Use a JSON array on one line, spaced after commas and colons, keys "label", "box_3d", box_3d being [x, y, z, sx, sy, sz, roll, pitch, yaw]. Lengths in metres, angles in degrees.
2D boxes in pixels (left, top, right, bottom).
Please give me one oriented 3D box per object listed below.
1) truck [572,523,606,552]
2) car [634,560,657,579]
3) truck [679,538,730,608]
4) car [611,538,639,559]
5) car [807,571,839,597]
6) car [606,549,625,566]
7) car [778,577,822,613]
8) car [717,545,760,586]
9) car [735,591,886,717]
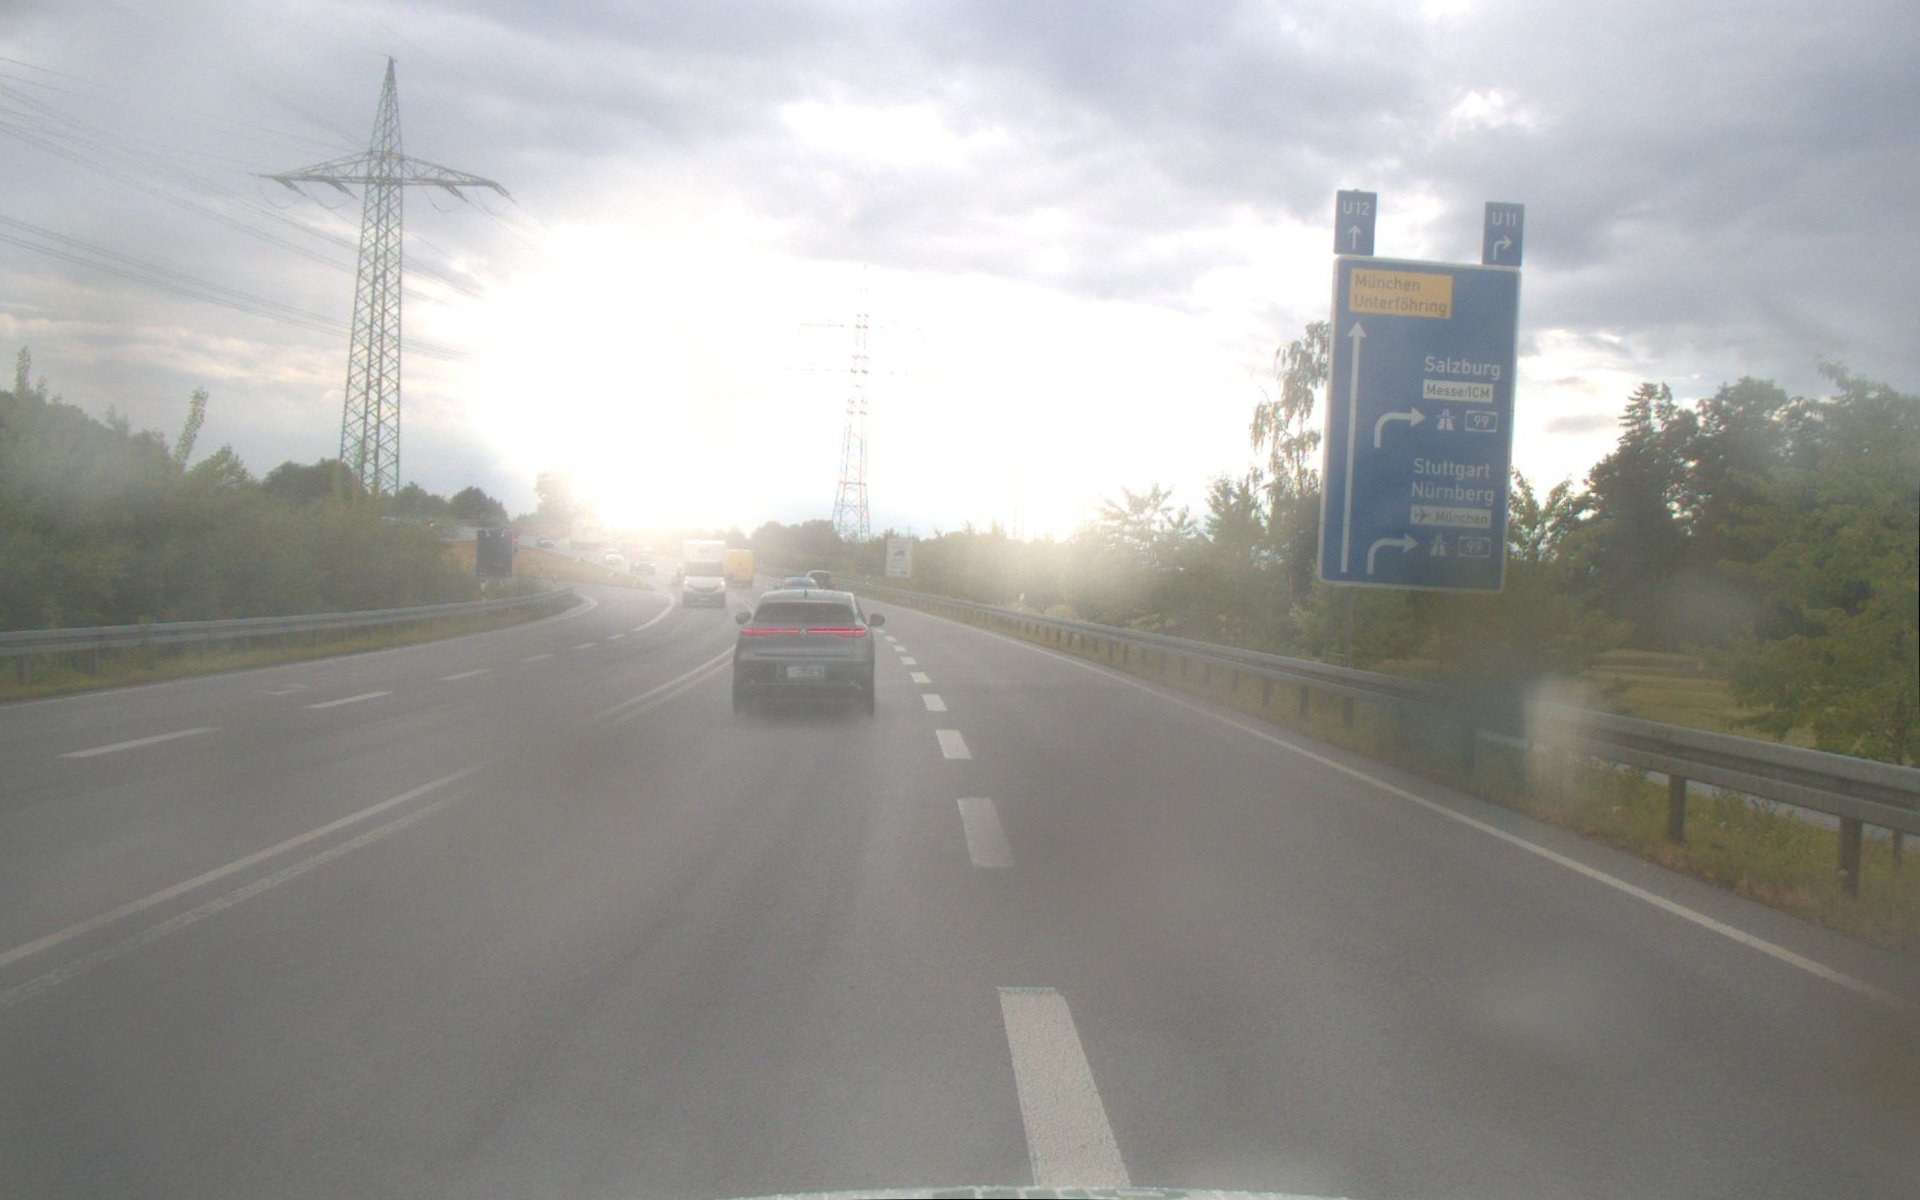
[{"label": "truck", "box_3d": [-46.706, -7.777, 207.873, 3.002, 3.443, 7.596, 1, 1, -21]}, {"label": "car", "box_3d": [-27.049, -2.646, 142.332, 1.766, 1.602, 4.251, 0, 1, -9]}, {"label": "truck", "box_3d": [-12.191, -1.257, 79.197, 2.213, 3.211, 6.679, 0, 0, -7]}, {"label": "car", "box_3d": [-37.746, -5.759, 186.344, 2.561, 2.289, 5.510, 1, 1, -17]}, {"label": "car", "box_3d": [-8.465, -0.970, 102.013, 1.758, 1.568, 3.993, 1, 0, -8]}, {"label": "car", "box_3d": [-34.743, -4.301, 166.651, 1.769, 1.602, 4.245, 0, 1, -13]}, {"label": "car", "box_3d": [-6.814, -0.221, 70.250, 1.757, 1.466, 3.994, 0, 0, -7]}, {"label": "car", "box_3d": [-15.760, -2.402, 117.347, 2.528, 2.773, 7.175, 0, 0, -12]}, {"label": "car", "box_3d": [-1.892, 0.618, 21.350, 1.756, 1.466, 3.997, 0, 0, -4]}]
